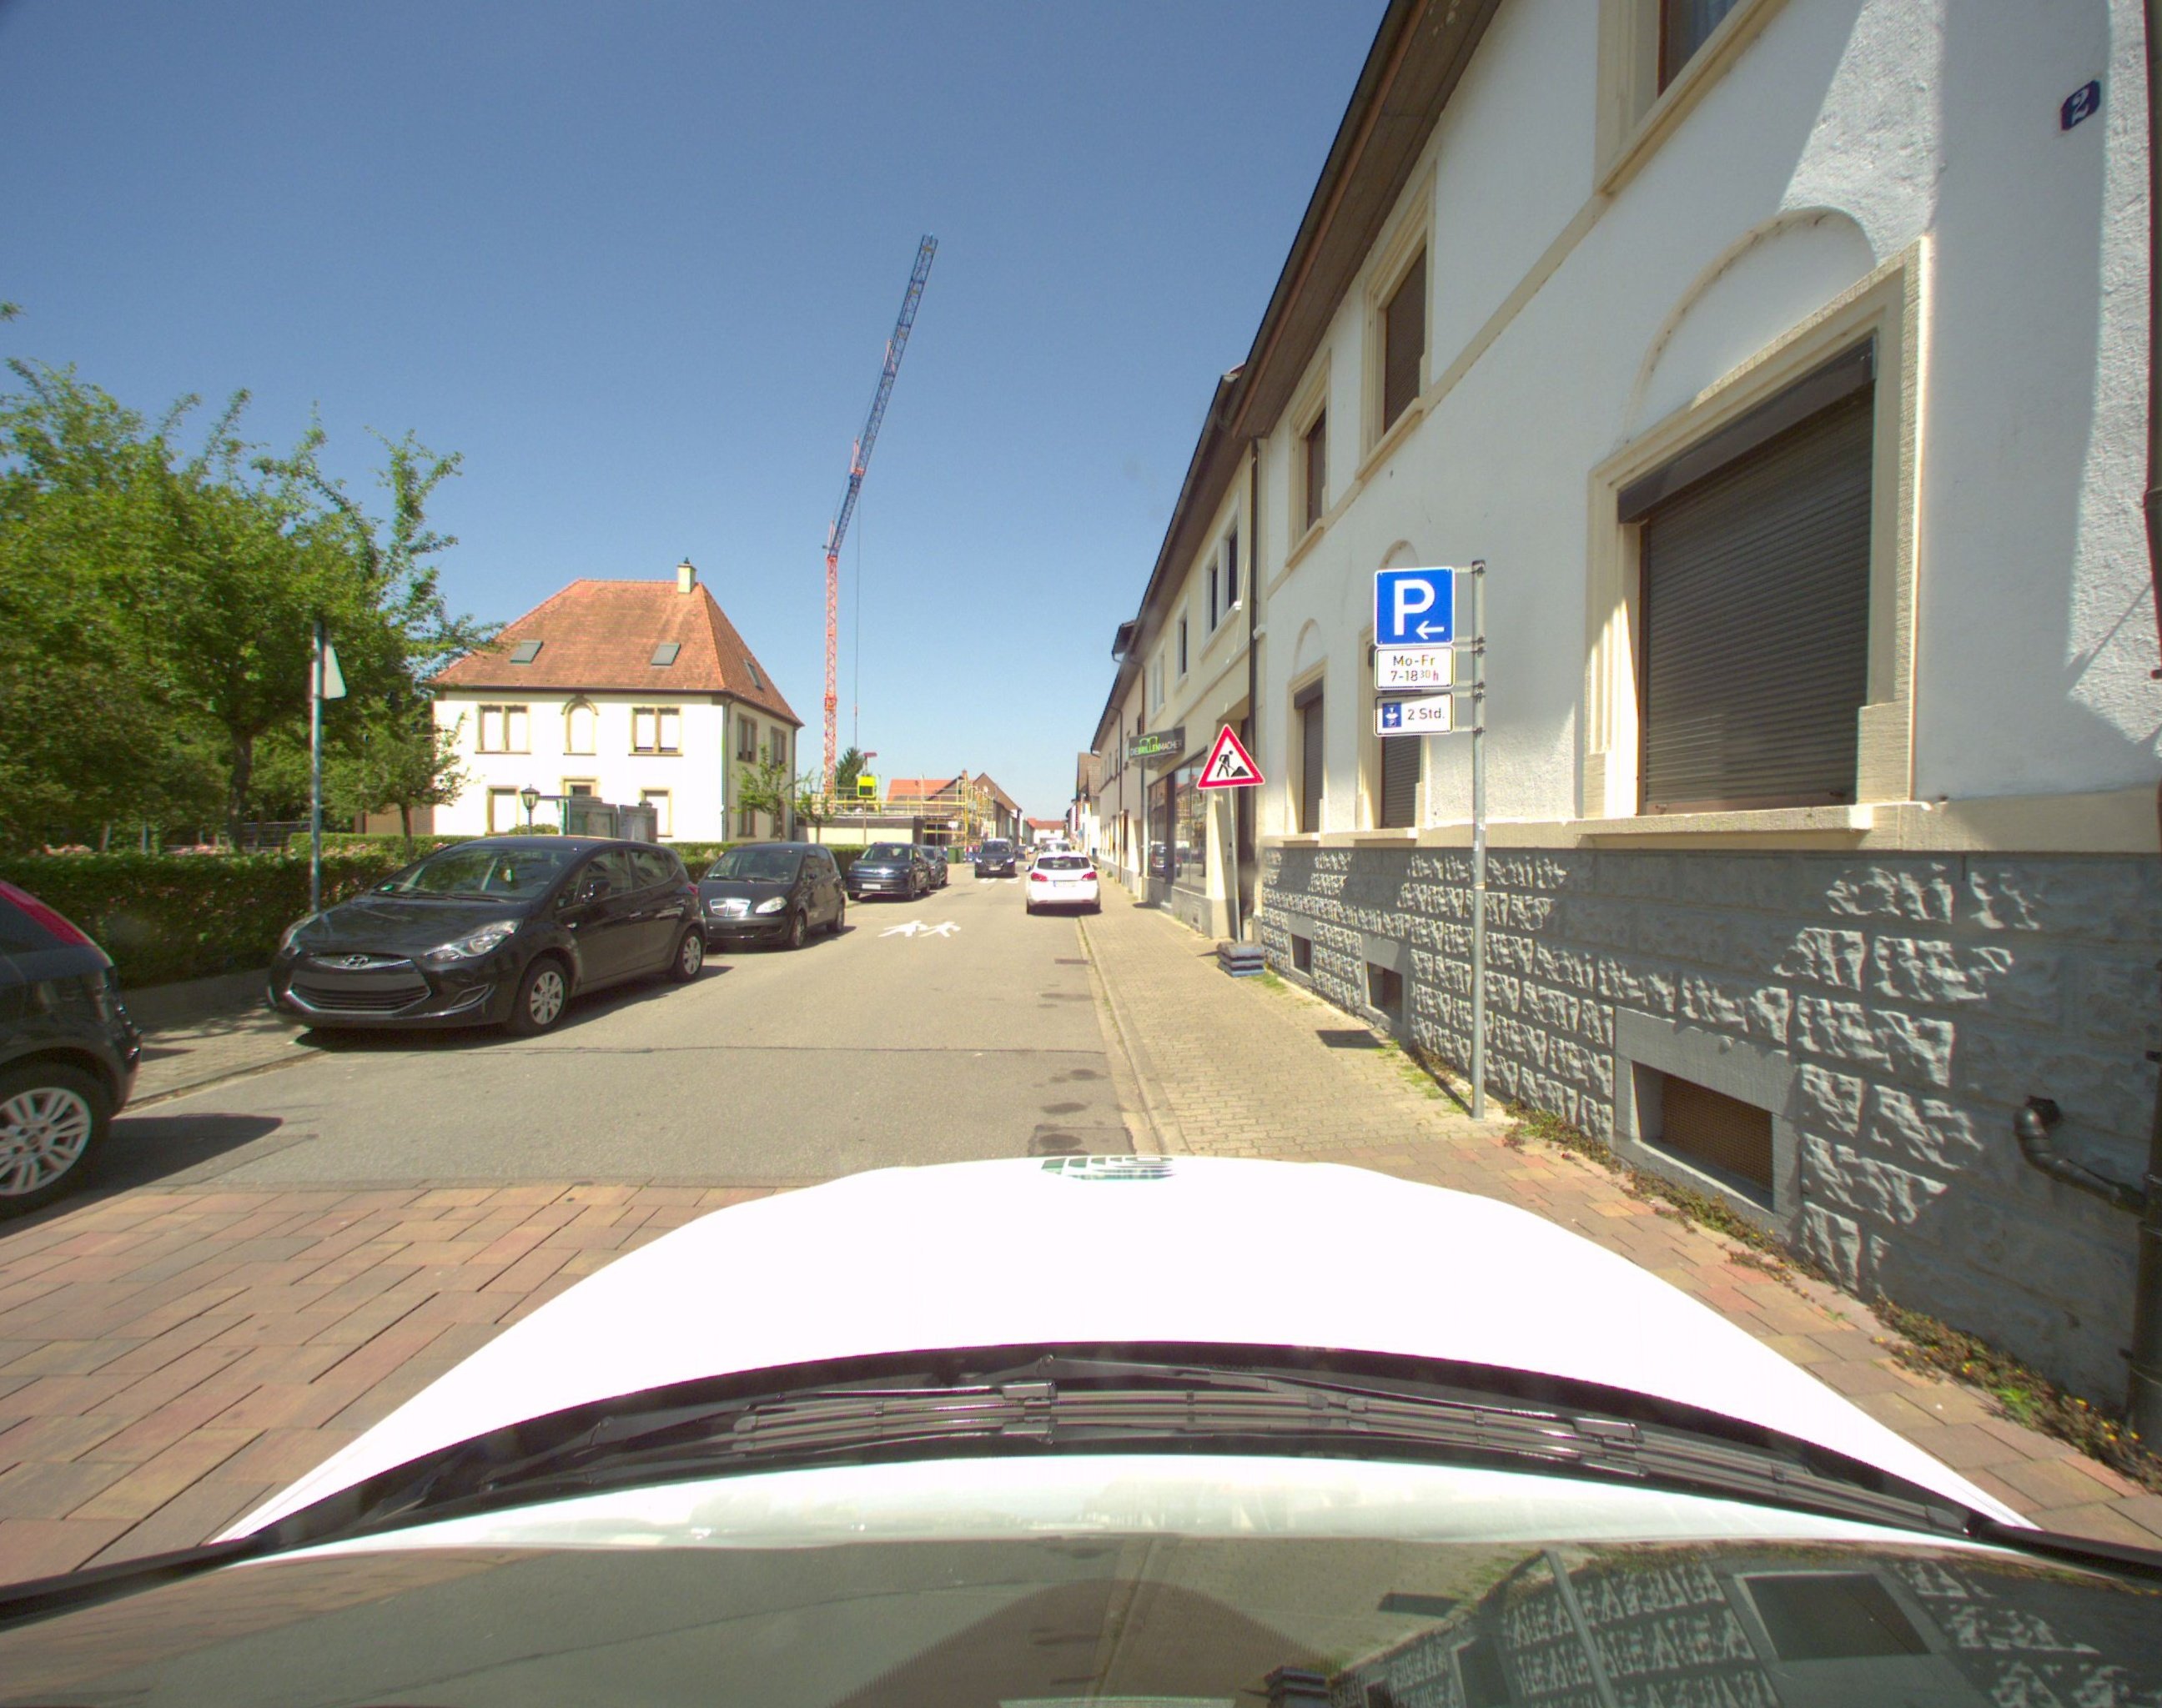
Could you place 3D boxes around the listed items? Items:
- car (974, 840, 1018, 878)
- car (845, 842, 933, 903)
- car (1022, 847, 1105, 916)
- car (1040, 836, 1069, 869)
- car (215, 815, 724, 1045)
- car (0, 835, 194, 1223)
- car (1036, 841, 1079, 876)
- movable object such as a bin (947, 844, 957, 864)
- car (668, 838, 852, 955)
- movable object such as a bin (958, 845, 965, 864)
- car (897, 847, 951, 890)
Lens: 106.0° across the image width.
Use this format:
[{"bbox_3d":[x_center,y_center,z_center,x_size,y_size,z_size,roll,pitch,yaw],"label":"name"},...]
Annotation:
[{"bbox_3d":[-3.944,0.213,38.329,1.877,1.668,4.148,1,1,-3],"label":"car"},{"bbox_3d":[-5.581,0.479,24.188,1.822,1.630,4.212,1,1,-4],"label":"car"},{"bbox_3d":[-0.497,0.606,20.746,1.882,1.542,4.238,1,1,-3],"label":"car"},{"bbox_3d":[-1.482,-0.117,45.708,1.560,1.612,3.540,1,3,-2],"label":"car"},{"bbox_3d":[-5.184,0.515,7.745,1.810,1.604,4.023,1,1,-1],"label":"car"},{"bbox_3d":[-4.916,0.687,1.880,1.699,1.496,3.850,0,1,-5],"label":"car"},{"bbox_3d":[-1.227,0.184,40.541,1.881,1.556,3.888,-3,1,-5],"label":"car"},{"bbox_3d":[-7.721,0.012,48.761,0.621,1.155,0.675,0,1,-9],"label":"movable object such as a bin"},{"bbox_3d":[-5.023,0.570,13.293,1.634,1.628,3.765,1,1,-3],"label":"car"},{"bbox_3d":[-7.222,0.017,49.276,0.431,1.155,0.363,0,1,-12],"label":"movable object such as a bin"},{"bbox_3d":[-5.648,0.480,29.613,1.433,1.474,3.782,0,0,-3],"label":"car"}]
